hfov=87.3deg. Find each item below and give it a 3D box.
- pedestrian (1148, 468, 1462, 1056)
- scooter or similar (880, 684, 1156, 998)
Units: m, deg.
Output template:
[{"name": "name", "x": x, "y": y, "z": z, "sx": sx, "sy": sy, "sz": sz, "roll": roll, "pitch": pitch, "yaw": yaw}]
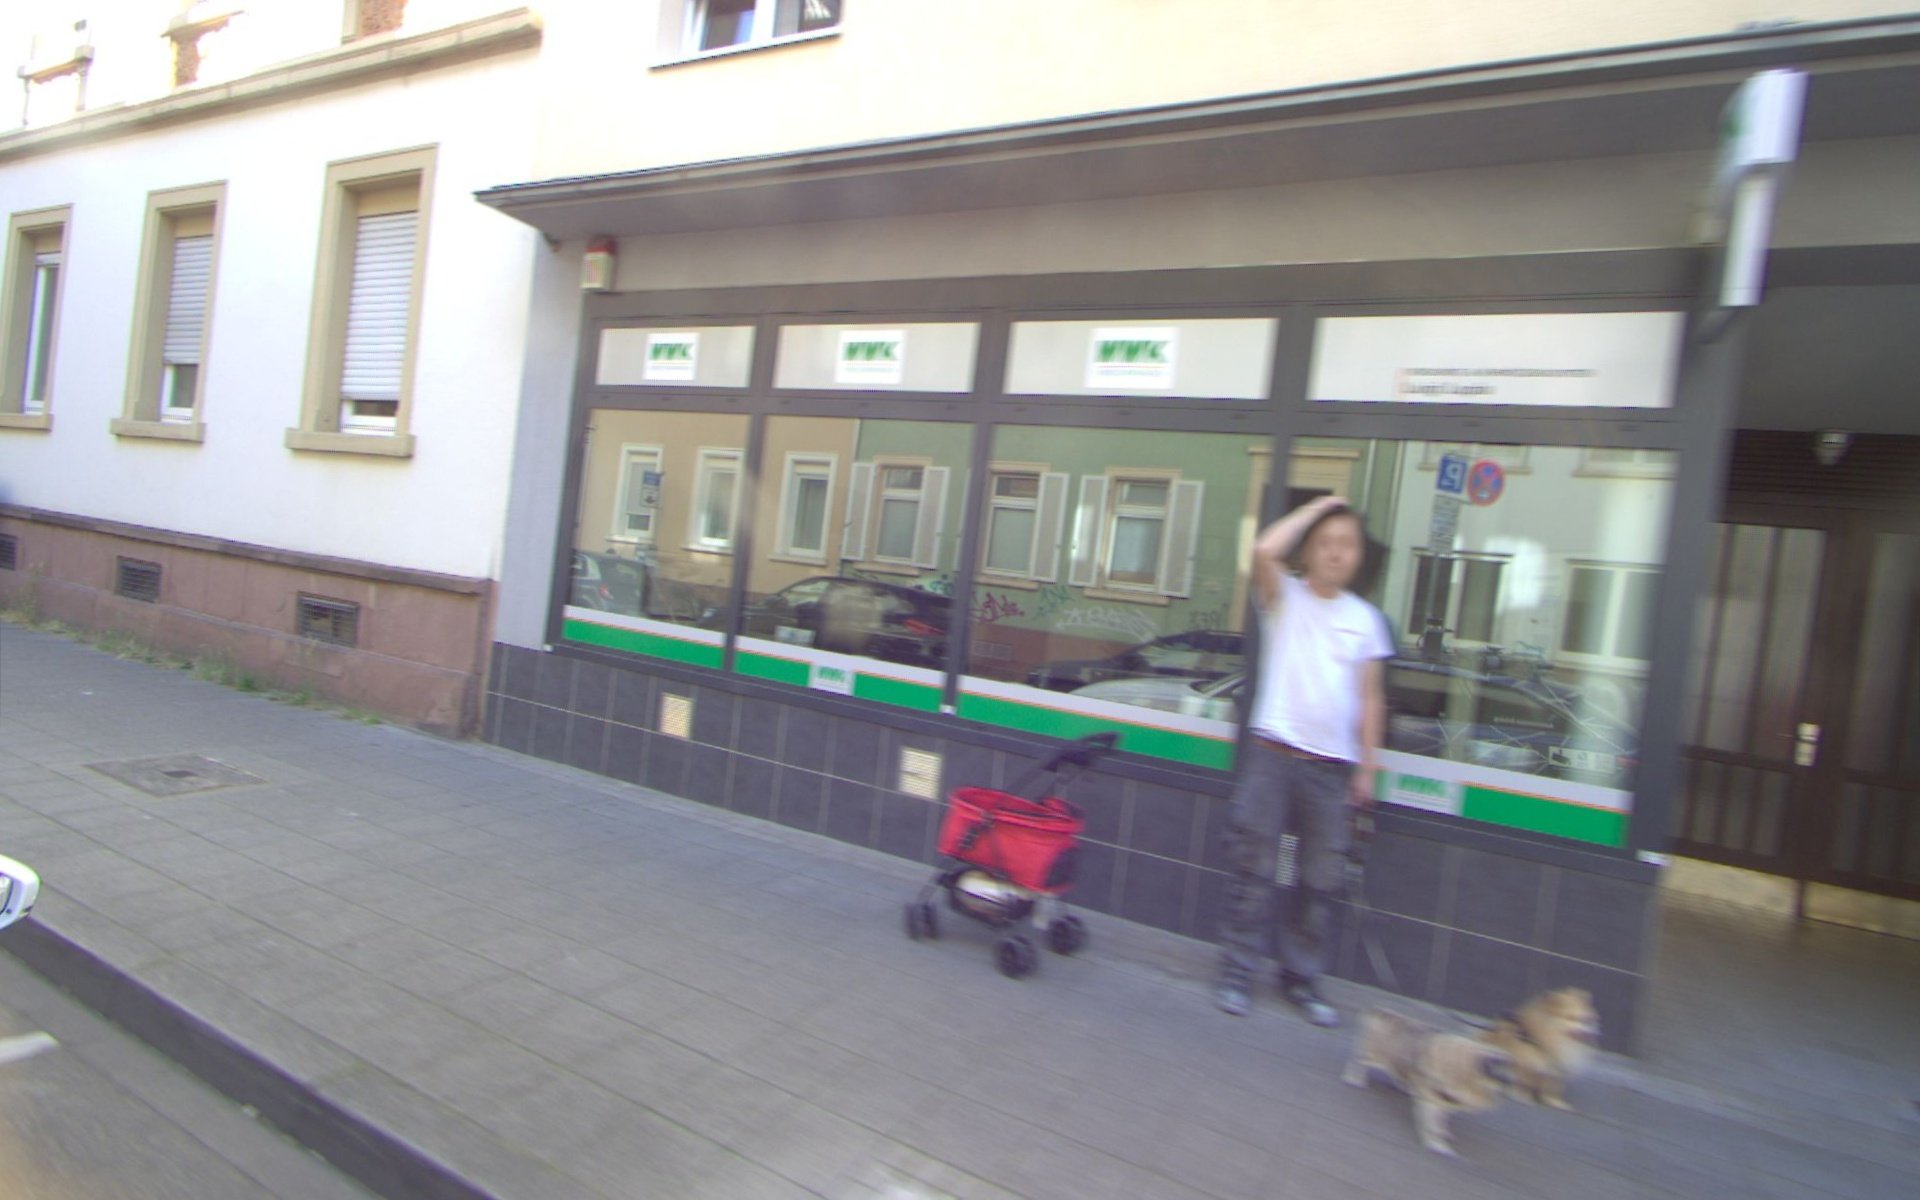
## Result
[{"name": "pedestrian", "x": 1.190, "y": 0.533, "z": 3.660, "sx": 0.734, "sy": 1.886, "sz": 0.649, "roll": 7, "pitch": 4, "yaw": 6}, {"name": "scooter or similar", "x": 0.218, "y": 0.881, "z": 3.955, "sx": 0.854, "sy": 0.957, "sz": 0.490, "roll": 9, "pitch": 4, "yaw": 35}]
